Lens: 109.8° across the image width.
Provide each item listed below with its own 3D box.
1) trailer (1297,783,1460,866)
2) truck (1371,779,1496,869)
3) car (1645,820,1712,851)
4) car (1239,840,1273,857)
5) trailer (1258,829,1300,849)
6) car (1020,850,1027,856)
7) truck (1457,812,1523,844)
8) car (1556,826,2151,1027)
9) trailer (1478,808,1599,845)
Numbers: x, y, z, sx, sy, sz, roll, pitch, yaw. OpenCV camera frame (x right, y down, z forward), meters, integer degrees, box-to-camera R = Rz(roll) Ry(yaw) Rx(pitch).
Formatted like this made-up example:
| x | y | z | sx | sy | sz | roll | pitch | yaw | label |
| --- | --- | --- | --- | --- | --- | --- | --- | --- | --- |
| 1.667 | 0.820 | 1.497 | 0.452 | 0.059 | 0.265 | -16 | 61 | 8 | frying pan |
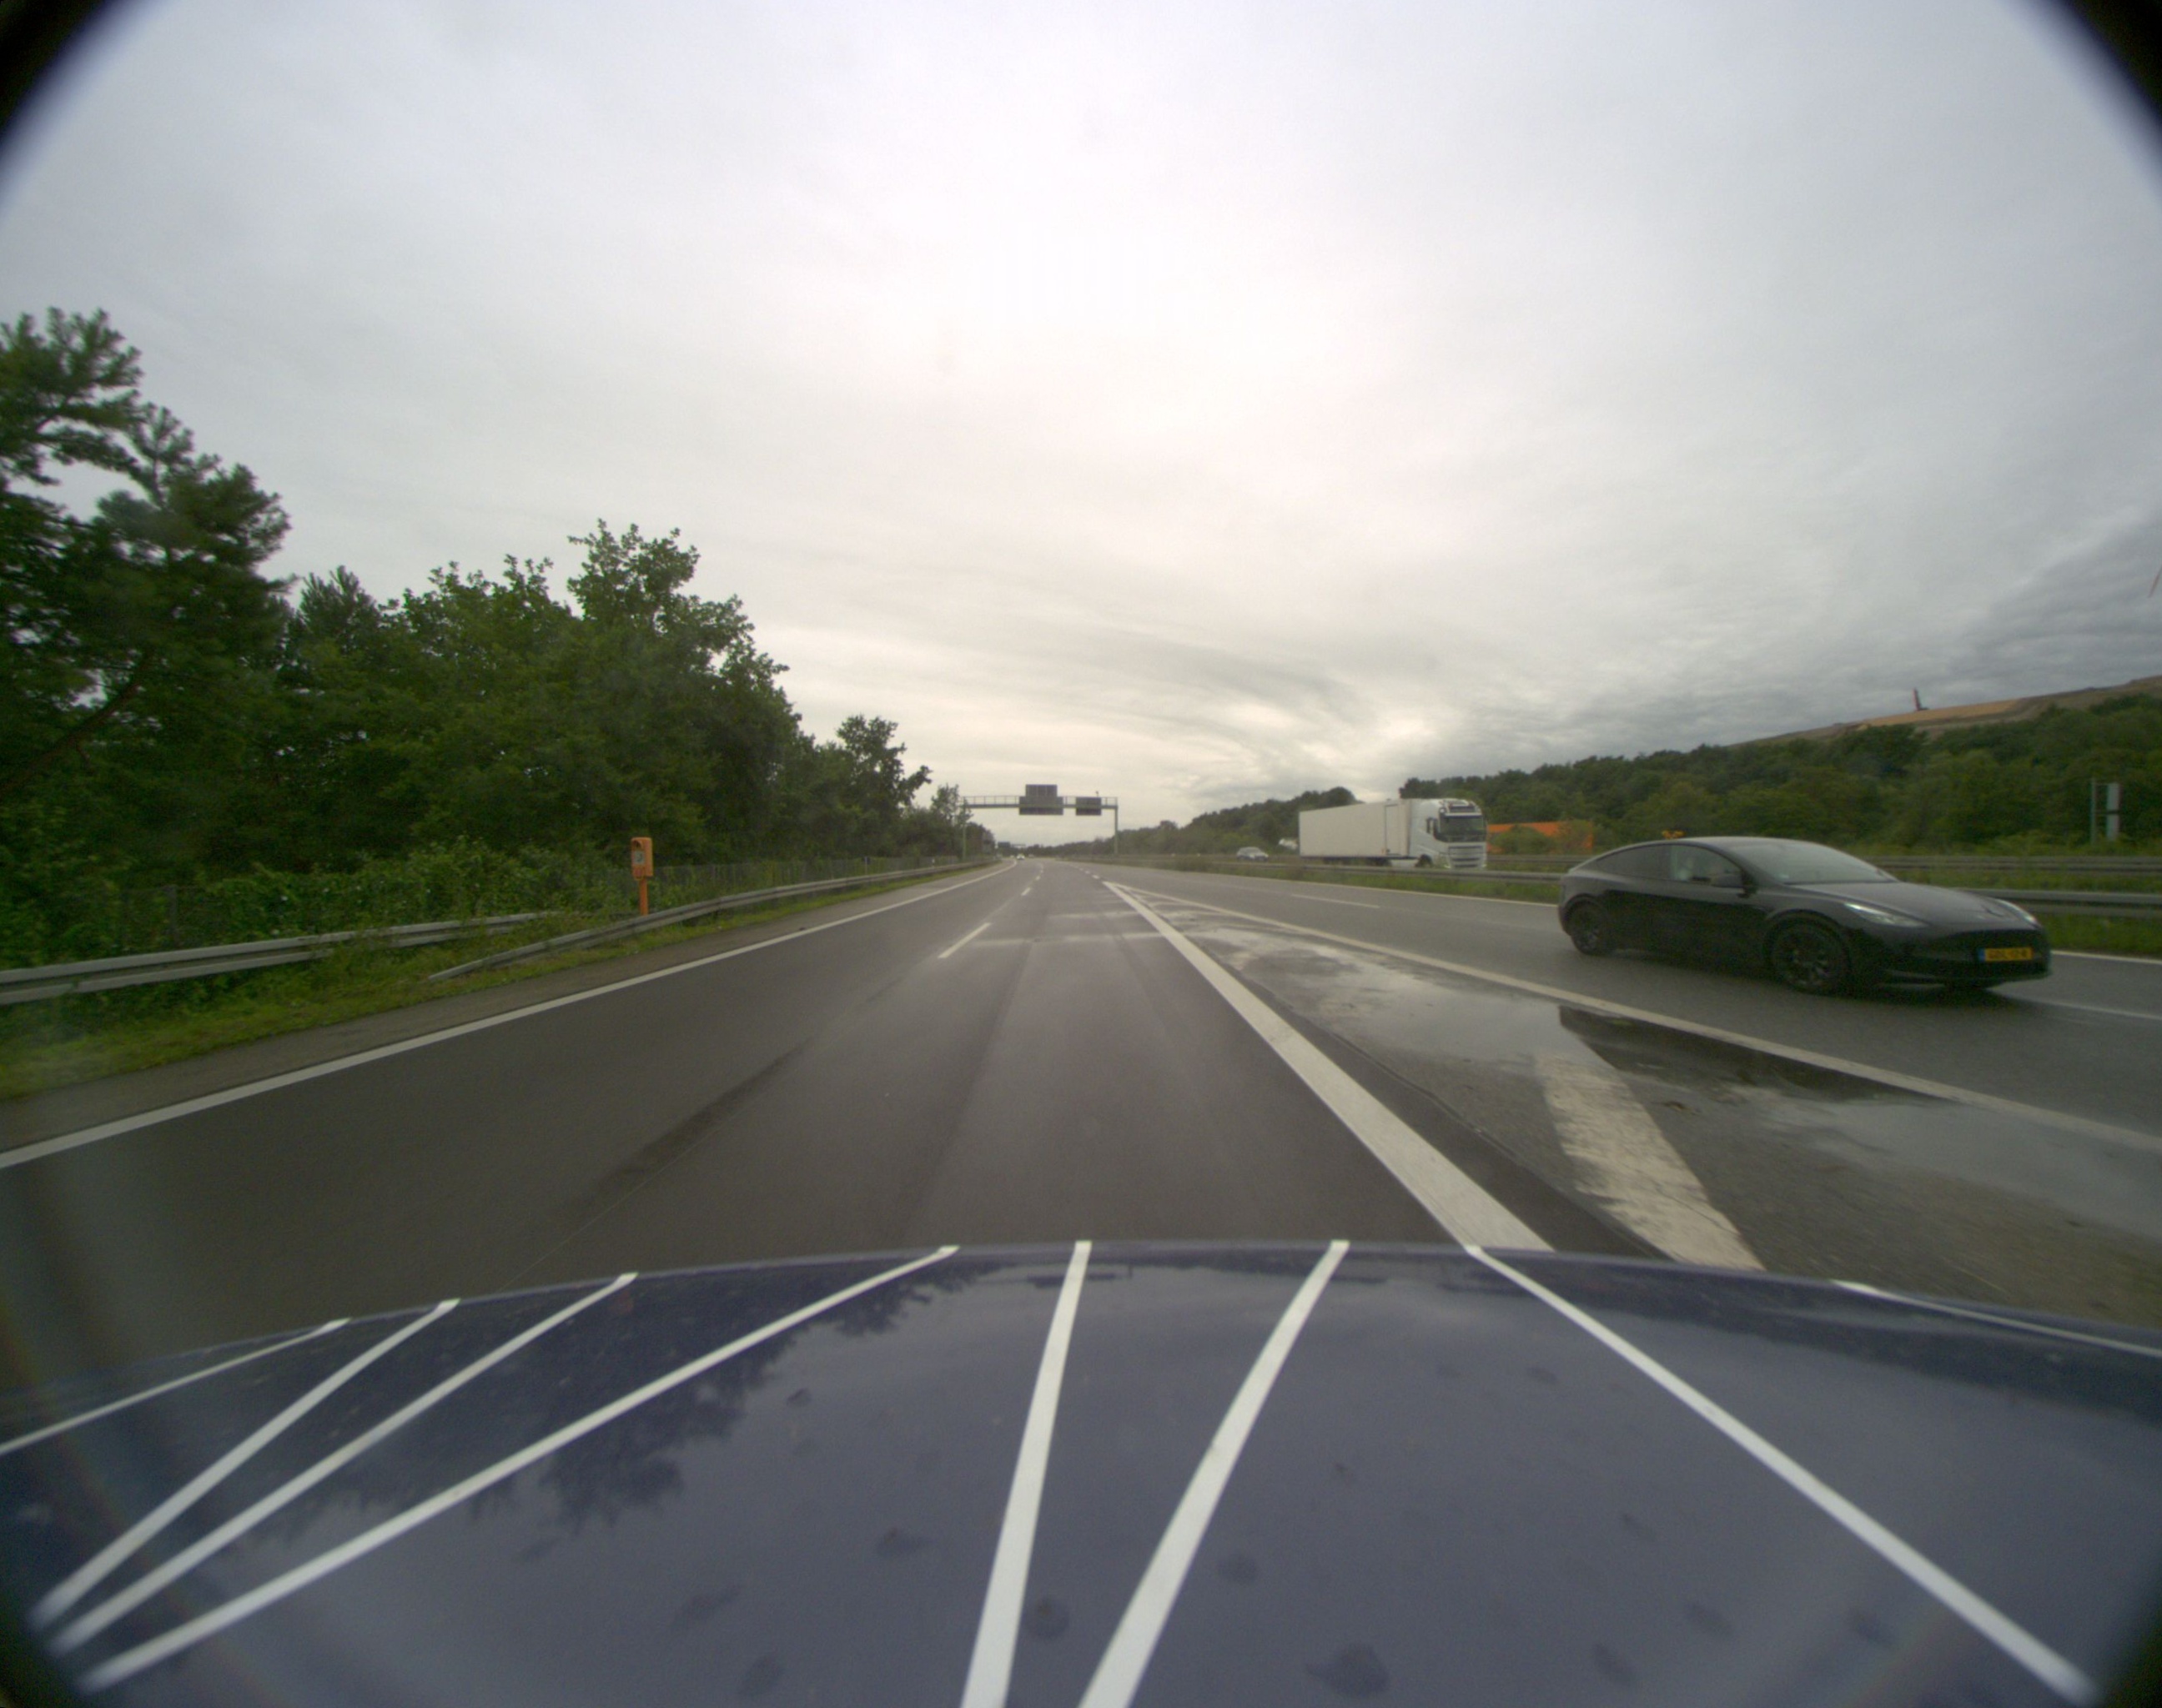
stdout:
| x | y | z | sx | sy | sz | roll | pitch | yaw | label |
| --- | --- | --- | --- | --- | --- | --- | --- | --- | --- |
| 16.931 | -1.561 | 45.061 | 2.774 | 4.111 | 13.941 | -2 | 1 | -6 | trailer |
| 17.664 | -1.436 | 38.590 | 2.774 | 4.111 | 6.440 | -2 | 1 | -6 | truck |
| 47.964 | -1.457 | 61.085 | 2.028 | 2.363 | 3.997 | -2 | 1 | -7 | car |
| 17.917 | -0.534 | 78.067 | 1.904 | 1.641 | 4.482 | -1 | 1 | -7 | car |
| 34.999 | -2.591 | 134.791 | 2.968 | 3.383 | 11.794 | -1 | 1 | -7 | trailer |
| -15.847 | -0.364 | 209.667 | 1.631 | 1.632 | 3.773 | -2 | 1 | -8 | car |
| 41.998 | -2.602 | 78.218 | 2.693 | 3.056 | 6.450 | -2 | 1 | -7 | truck |
| 8.010 | 0.559 | 8.715 | 1.967 | 1.628 | 4.550 | -2 | 1 | -6 | car |
| 42.706 | -2.476 | 71.695 | 2.693 | 3.056 | 12.556 | -2 | 1 | -7 | trailer |
